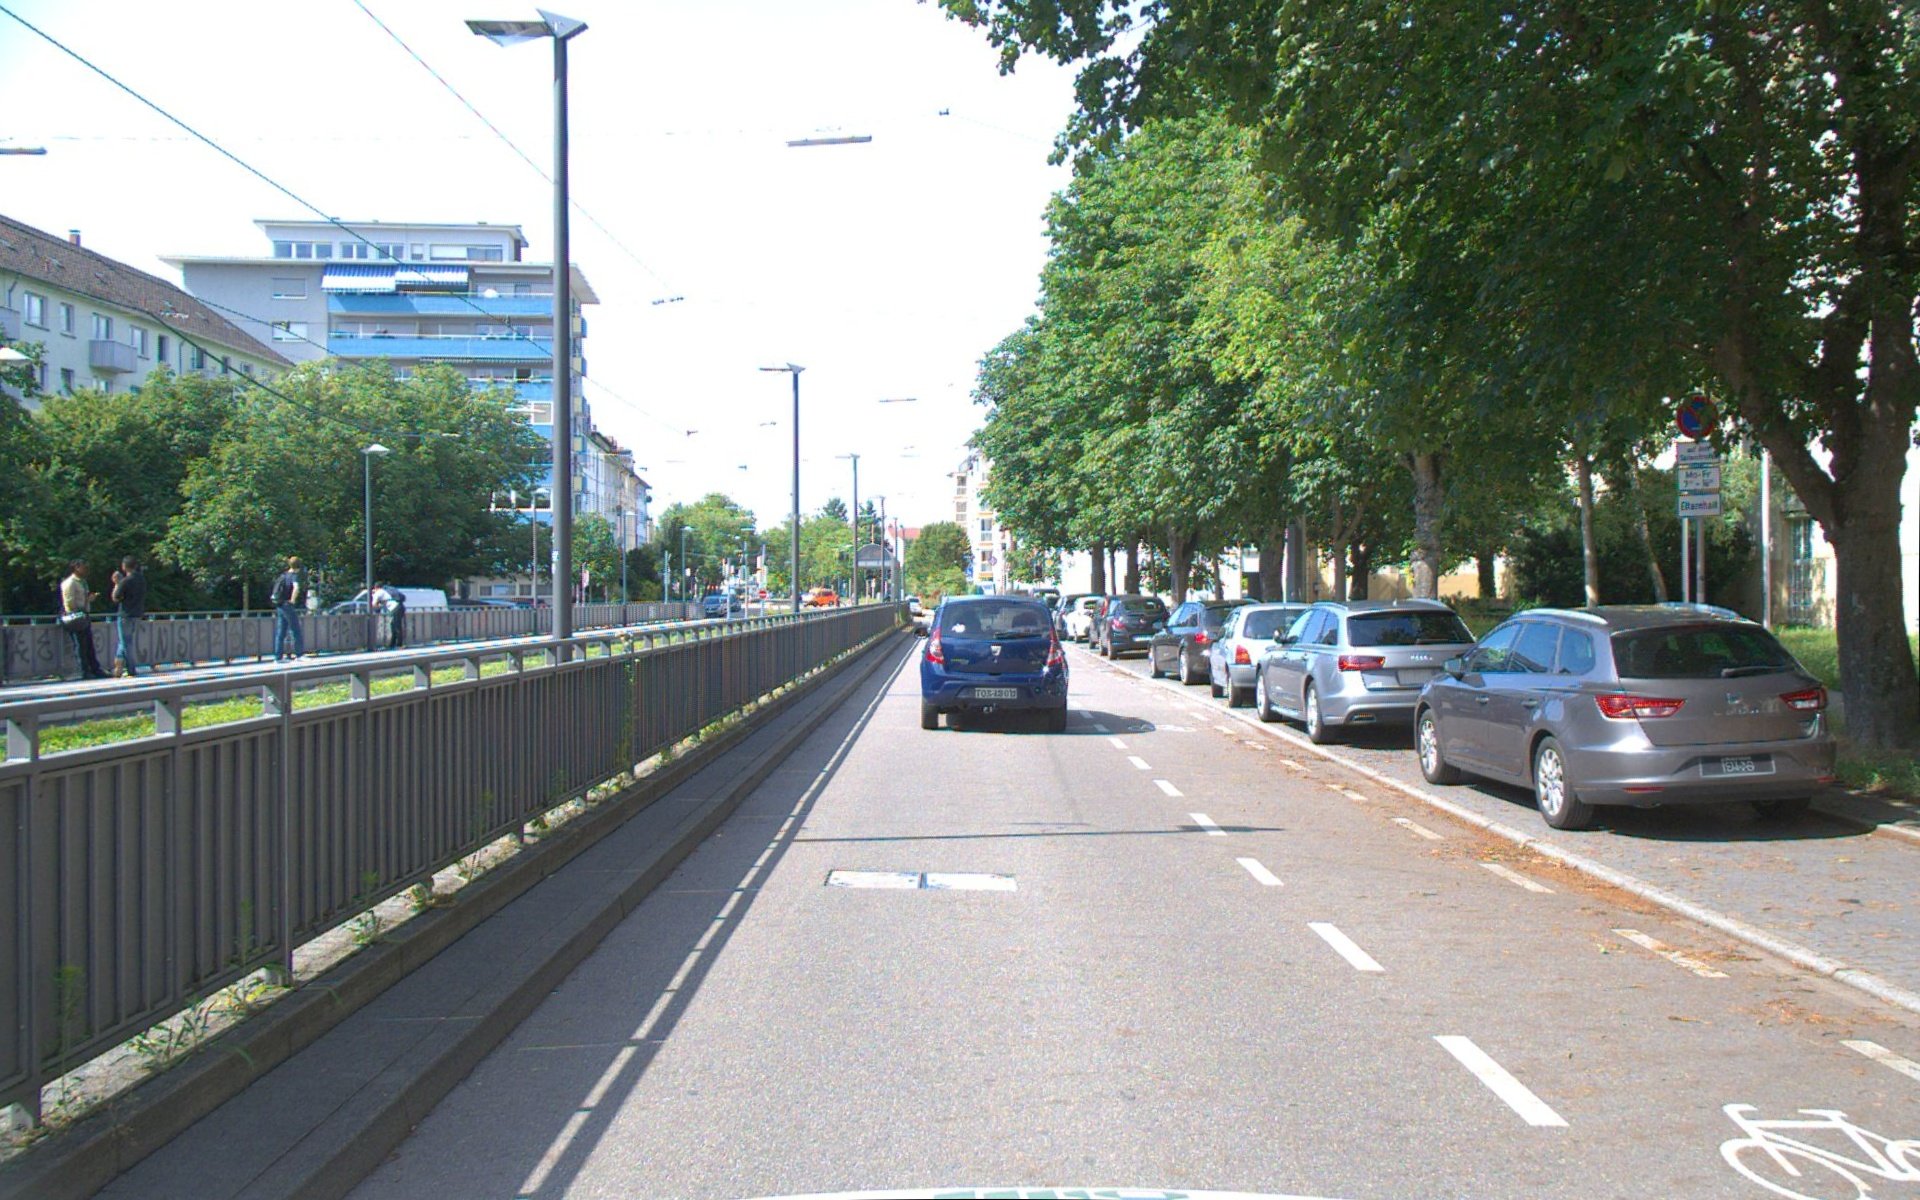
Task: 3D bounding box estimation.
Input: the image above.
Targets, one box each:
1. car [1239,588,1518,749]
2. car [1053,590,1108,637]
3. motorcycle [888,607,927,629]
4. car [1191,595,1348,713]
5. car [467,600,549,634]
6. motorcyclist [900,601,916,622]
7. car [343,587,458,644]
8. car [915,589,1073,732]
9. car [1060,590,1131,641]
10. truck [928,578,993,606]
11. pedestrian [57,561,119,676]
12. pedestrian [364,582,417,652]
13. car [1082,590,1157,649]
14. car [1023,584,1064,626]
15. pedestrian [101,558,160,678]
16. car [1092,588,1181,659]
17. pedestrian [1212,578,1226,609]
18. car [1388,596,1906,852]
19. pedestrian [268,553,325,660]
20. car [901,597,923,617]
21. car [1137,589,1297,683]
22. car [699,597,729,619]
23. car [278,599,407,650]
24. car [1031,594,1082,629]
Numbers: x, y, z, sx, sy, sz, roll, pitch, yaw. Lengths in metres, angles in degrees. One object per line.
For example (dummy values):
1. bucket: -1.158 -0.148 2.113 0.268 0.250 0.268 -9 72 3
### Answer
1. car: 4.571 0.659 18.900 1.792 1.466 5.049 -4 1 0
2. car: 4.415 0.475 61.183 1.689 1.611 4.677 -2 0 0
3. motorcycle: -3.433 1.191 107.928 2.460 1.363 1.016 -1 0 -7
4. car: 4.427 0.712 24.162 1.602 1.456 4.016 -3 1 2
5. car: -22.109 0.824 80.907 3.619 1.607 1.631 -1 0 -32
6. motorcyclist: -3.403 0.756 107.979 0.964 1.363 0.941 -1 0 -4
7. car: -21.706 0.573 64.221 3.900 2.106 2.028 -1 0 -32
8. car: 0.340 0.655 20.064 1.708 1.533 3.999 1 0 -1
9. car: 4.510 0.509 55.585 1.799 1.550 4.251 -3 0 -3
10. truck: 0.076 -1.055 217.047 8.199 3.241 2.600 -3 0 -8
11. pedestrian: -13.148 0.276 24.945 0.594 1.703 0.625 0 -1 -1
12. pedestrian: -13.282 0.390 38.569 0.968 1.606 0.798 -1 -1 -3
13. car: 4.488 0.545 46.846 1.525 1.486 3.556 -4 -1 -3
14. car: 4.054 0.241 80.950 1.785 1.929 4.184 -2 1 1
15. pedestrian: -12.501 0.269 24.922 0.597 1.785 0.622 -1 -1 40
16. car: 4.378 0.558 41.648 1.656 1.588 4.307 -3 0 -1
17. pedestrian: 13.974 -0.339 89.086 0.618 1.624 0.539 -1 -1 -3
18. car: 4.824 0.756 12.474 1.792 1.424 4.655 -4 1 -2
19. pedestrian: -11.997 0.126 29.923 0.735 1.925 0.639 0 -2 2
20. car: -3.807 0.568 130.797 1.590 1.491 3.507 1 -1 -5
21. car: 4.550 0.635 30.053 1.795 1.492 4.827 -3 -1 -4
22. car: -19.353 0.642 130.299 1.954 1.674 3.996 1 -1 -4
23. car: -21.815 0.839 58.508 3.959 1.668 1.803 -1 2 -38
24. car: 4.380 0.499 75.596 1.879 1.467 4.795 -3 1 -2
